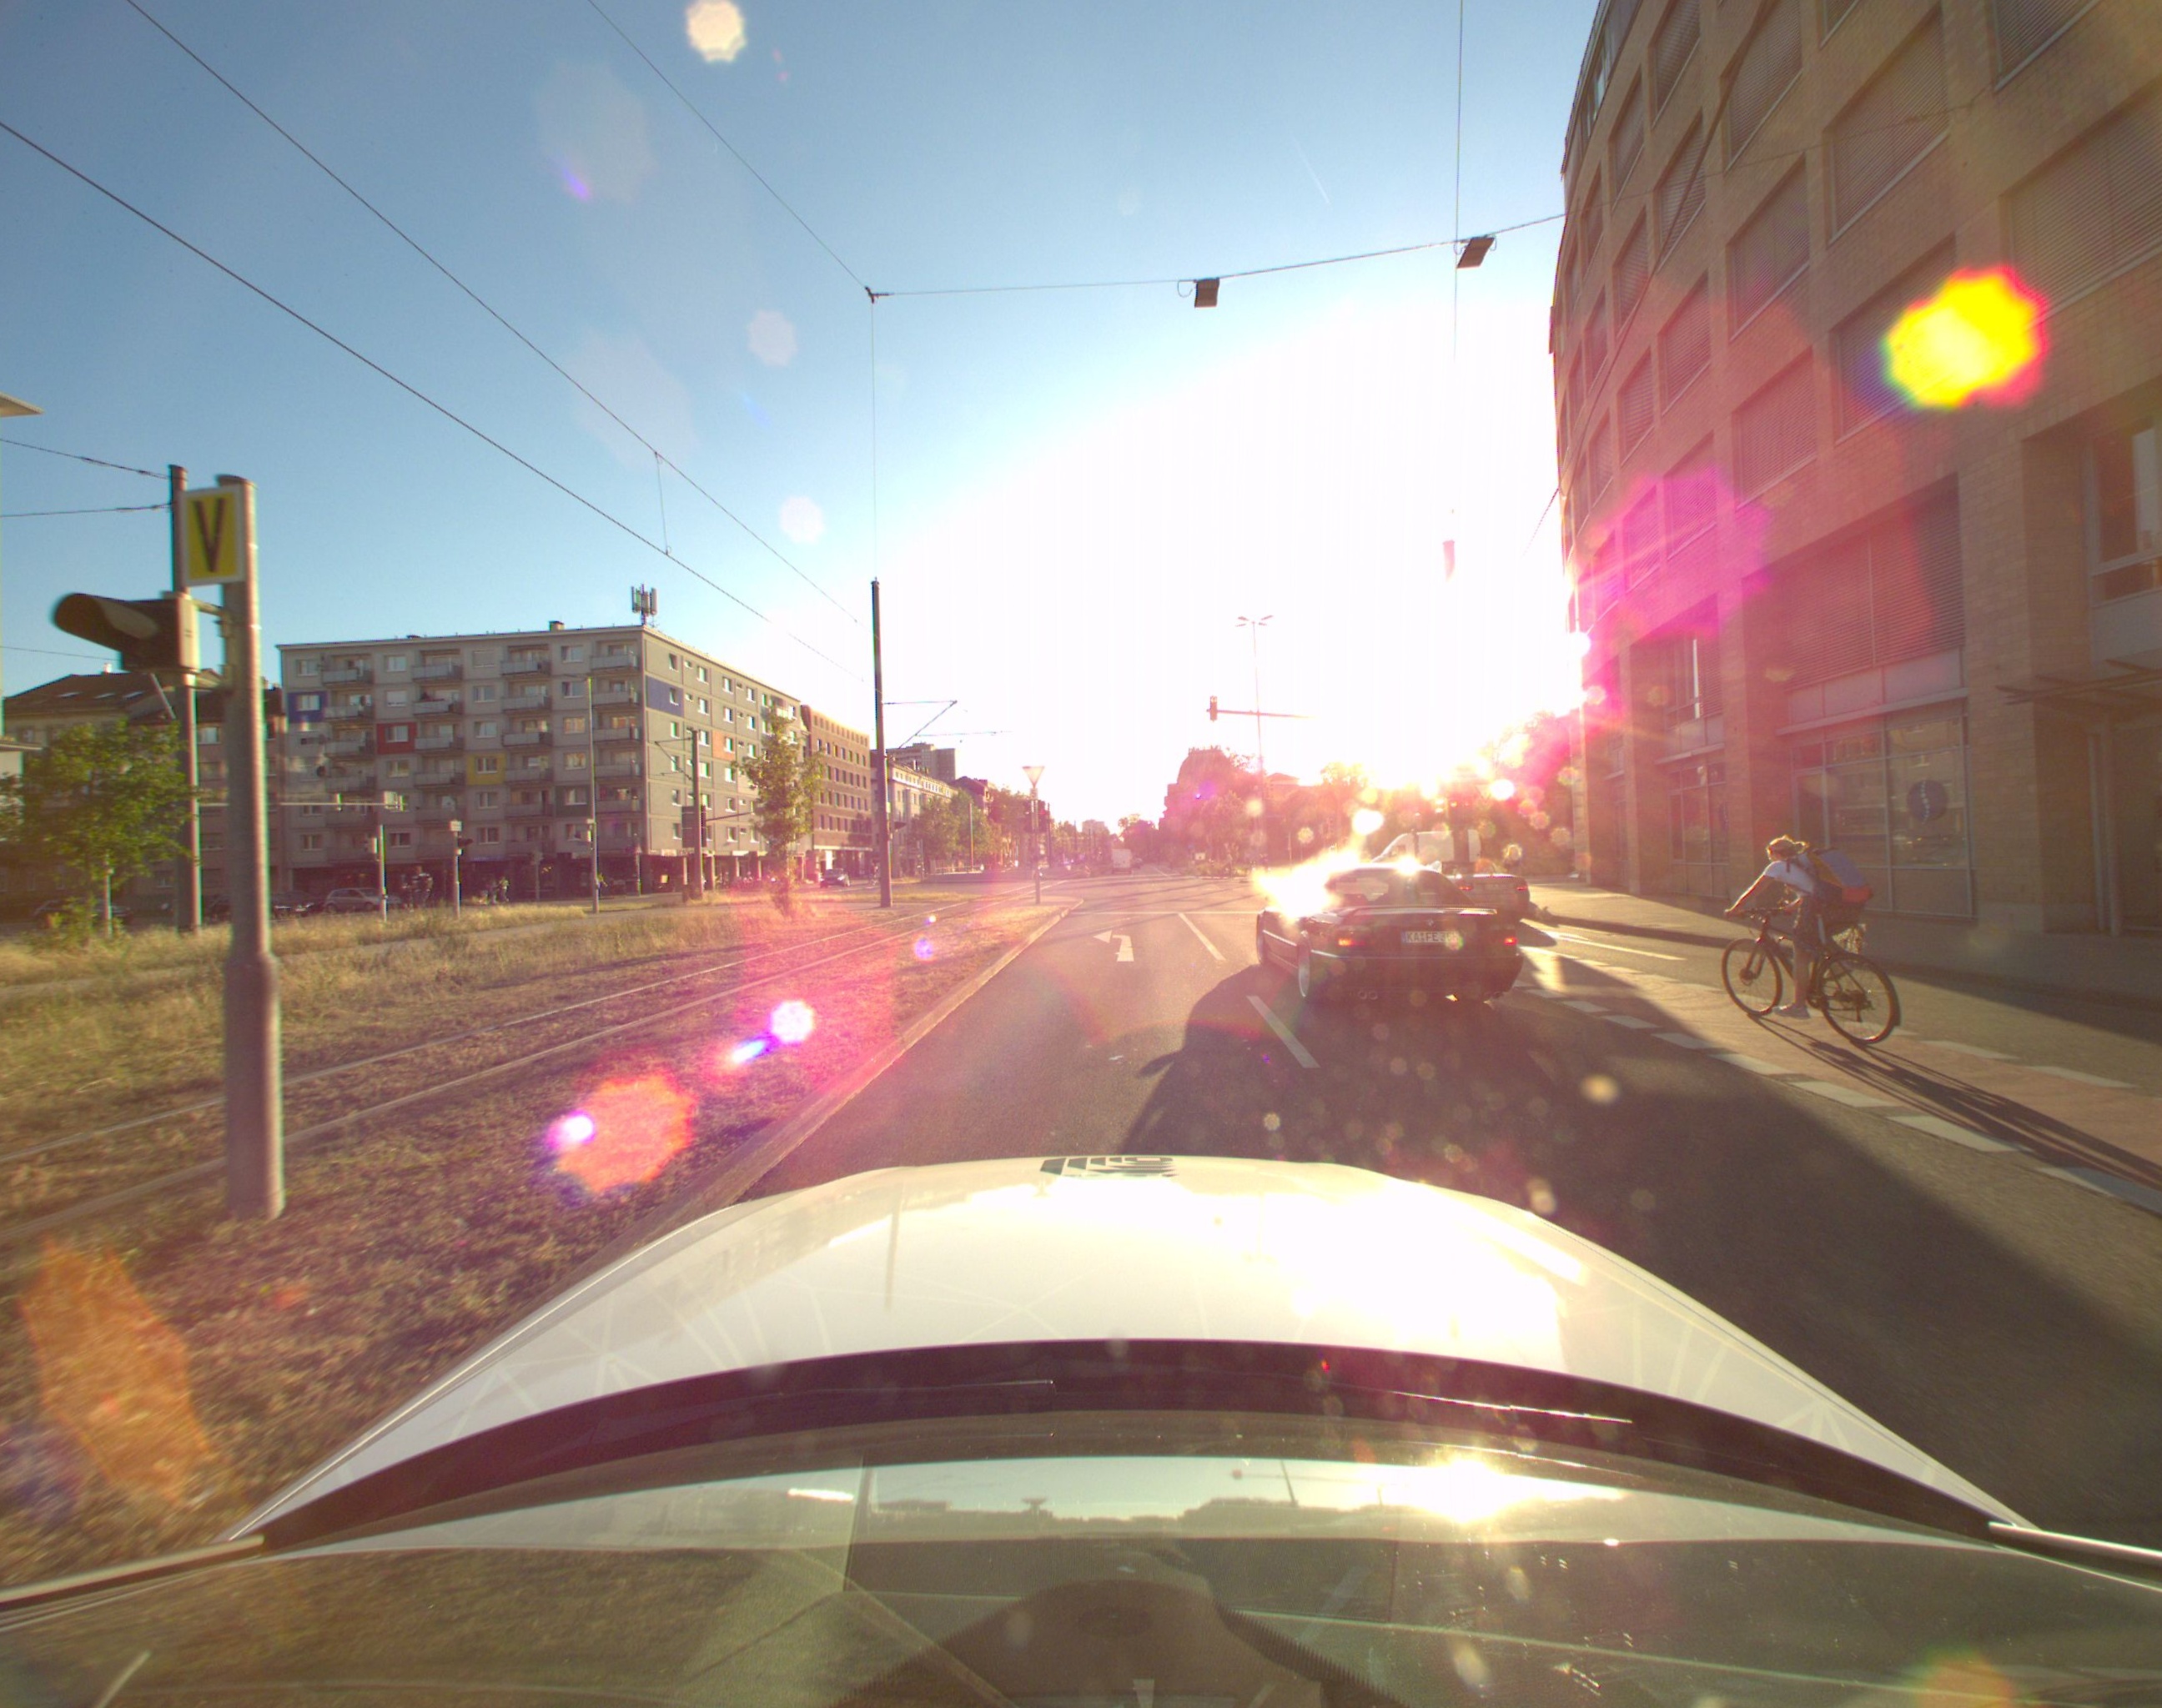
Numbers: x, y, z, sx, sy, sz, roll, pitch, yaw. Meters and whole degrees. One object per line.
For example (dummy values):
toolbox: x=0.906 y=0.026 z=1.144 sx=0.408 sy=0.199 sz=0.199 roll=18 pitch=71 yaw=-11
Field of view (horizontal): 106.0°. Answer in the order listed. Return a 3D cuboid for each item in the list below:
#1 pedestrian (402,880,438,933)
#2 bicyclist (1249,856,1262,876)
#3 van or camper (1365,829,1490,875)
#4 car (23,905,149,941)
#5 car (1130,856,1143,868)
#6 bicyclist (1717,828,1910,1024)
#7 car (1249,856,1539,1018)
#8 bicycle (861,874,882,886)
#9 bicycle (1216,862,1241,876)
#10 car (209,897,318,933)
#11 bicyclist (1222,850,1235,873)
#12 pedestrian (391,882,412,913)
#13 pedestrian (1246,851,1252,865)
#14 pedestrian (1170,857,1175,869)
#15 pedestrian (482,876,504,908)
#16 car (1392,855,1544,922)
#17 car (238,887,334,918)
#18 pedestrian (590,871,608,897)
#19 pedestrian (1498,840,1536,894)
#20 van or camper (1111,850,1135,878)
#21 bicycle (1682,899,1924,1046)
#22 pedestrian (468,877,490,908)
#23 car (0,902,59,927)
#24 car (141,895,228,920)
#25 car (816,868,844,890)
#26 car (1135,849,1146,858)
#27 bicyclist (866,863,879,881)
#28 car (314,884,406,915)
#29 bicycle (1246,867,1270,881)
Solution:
pedestrian: x=-22.837 y=1.813 z=28.158 sx=0.713 sy=1.762 sz=0.654 roll=-2 pitch=1 yaw=25
bicyclist: x=13.019 y=0.912 z=60.733 sx=0.847 sy=1.442 sz=0.665 roll=-2 pitch=1 yaw=13
van or camper: x=22.417 y=-0.142 z=52.958 sx=7.007 sy=2.674 sz=2.603 roll=-2 pitch=1 yaw=6
car: x=-54.329 y=3.728 z=44.539 sx=4.268 sy=1.585 sz=1.988 roll=-2 pitch=1 yaw=-2
car: x=7.540 y=1.056 z=110.713 sx=1.729 sy=1.385 sz=4.005 roll=-2 pitch=1 yaw=4
bicyclist: x=5.963 y=0.552 z=6.700 sx=0.653 sy=1.483 sz=1.038 roll=0 pitch=-1 yaw=2
car: x=3.214 y=0.734 z=9.445 sx=1.822 sy=1.354 sz=4.646 roll=-1 pitch=0 yaw=4
bicycle: x=-17.334 y=2.143 z=67.435 sx=0.695 sy=0.970 sz=1.745 roll=1 pitch=1 yaw=29
bicycle: x=10.704 y=1.083 z=59.059 sx=1.719 sy=0.970 sz=0.611 roll=-1 pitch=1 yaw=7
car: x=-43.717 y=3.262 z=43.598 sx=3.854 sy=1.585 sz=1.802 roll=-2 pitch=1 yaw=-2
bicyclist: x=10.687 y=0.531 z=59.058 sx=0.793 sy=1.571 sz=0.664 roll=-2 pitch=1 yaw=7
pedestrian: x=-36.380 y=2.329 z=43.592 sx=0.512 sy=1.629 sz=0.616 roll=-2 pitch=1 yaw=4
pedestrian: x=20.755 y=0.500 z=100.538 sx=0.679 sy=1.611 sz=0.613 roll=-2 pitch=1 yaw=4
pedestrian: x=11.404 y=1.102 z=101.554 sx=0.613 sy=1.475 sz=0.802 roll=-2 pitch=1 yaw=8
pedestrian: x=-35.997 y=2.324 z=49.870 sx=0.599 sy=1.847 sz=0.823 roll=-2 pitch=1 yaw=4
car: x=9.026 y=0.741 z=19.414 sx=1.776 sy=1.354 sz=4.270 roll=-1 pitch=0 yaw=3
car: x=-48.121 y=2.935 z=49.358 sx=3.854 sy=1.585 sz=1.802 roll=-2 pitch=1 yaw=-2
pedestrian: x=-32.346 y=2.019 z=54.638 sx=0.787 sy=1.669 sz=0.732 roll=-3 pitch=1 yaw=-44
pedestrian: x=13.056 y=0.390 z=24.420 sx=0.674 sy=1.569 sz=0.800 roll=-2 pitch=1 yaw=1
van or camper: x=4.315 y=0.987 z=83.697 sx=2.252 sy=2.624 sz=4.509 roll=-2 pitch=1 yaw=5
bicycle: x=5.933 y=0.916 z=6.842 sx=0.513 sy=0.954 sz=1.776 roll=0 pitch=1 yaw=2
pedestrian: x=-36.931 y=2.360 z=49.972 sx=0.701 sy=1.852 sz=0.738 roll=-2 pitch=1 yaw=4
car: x=-78.493 y=4.494 z=60.019 sx=3.854 sy=1.585 sz=1.802 roll=-2 pitch=1 yaw=-2
car: x=-67.112 y=3.980 z=61.006 sx=4.274 sy=1.585 sz=1.802 roll=-2 pitch=1 yaw=-2
car: x=-18.770 y=1.864 z=60.759 sx=1.719 sy=1.434 sz=3.972 roll=-1 pitch=1 yaw=-21
car: x=11.746 y=-0.105 z=159.965 sx=1.788 sy=1.566 sz=4.000 roll=-2 pitch=1 yaw=0
bicyclist: x=-17.277 y=1.458 z=67.543 sx=0.655 sy=1.442 sz=0.861 roll=0 pitch=1 yaw=28
car: x=-43.721 y=2.751 z=49.441 sx=3.854 sy=1.585 sz=1.802 roll=-2 pitch=1 yaw=-2
bicycle: x=13.167 y=1.500 z=60.717 sx=1.706 sy=0.970 sz=0.611 roll=-1 pitch=1 yaw=13
